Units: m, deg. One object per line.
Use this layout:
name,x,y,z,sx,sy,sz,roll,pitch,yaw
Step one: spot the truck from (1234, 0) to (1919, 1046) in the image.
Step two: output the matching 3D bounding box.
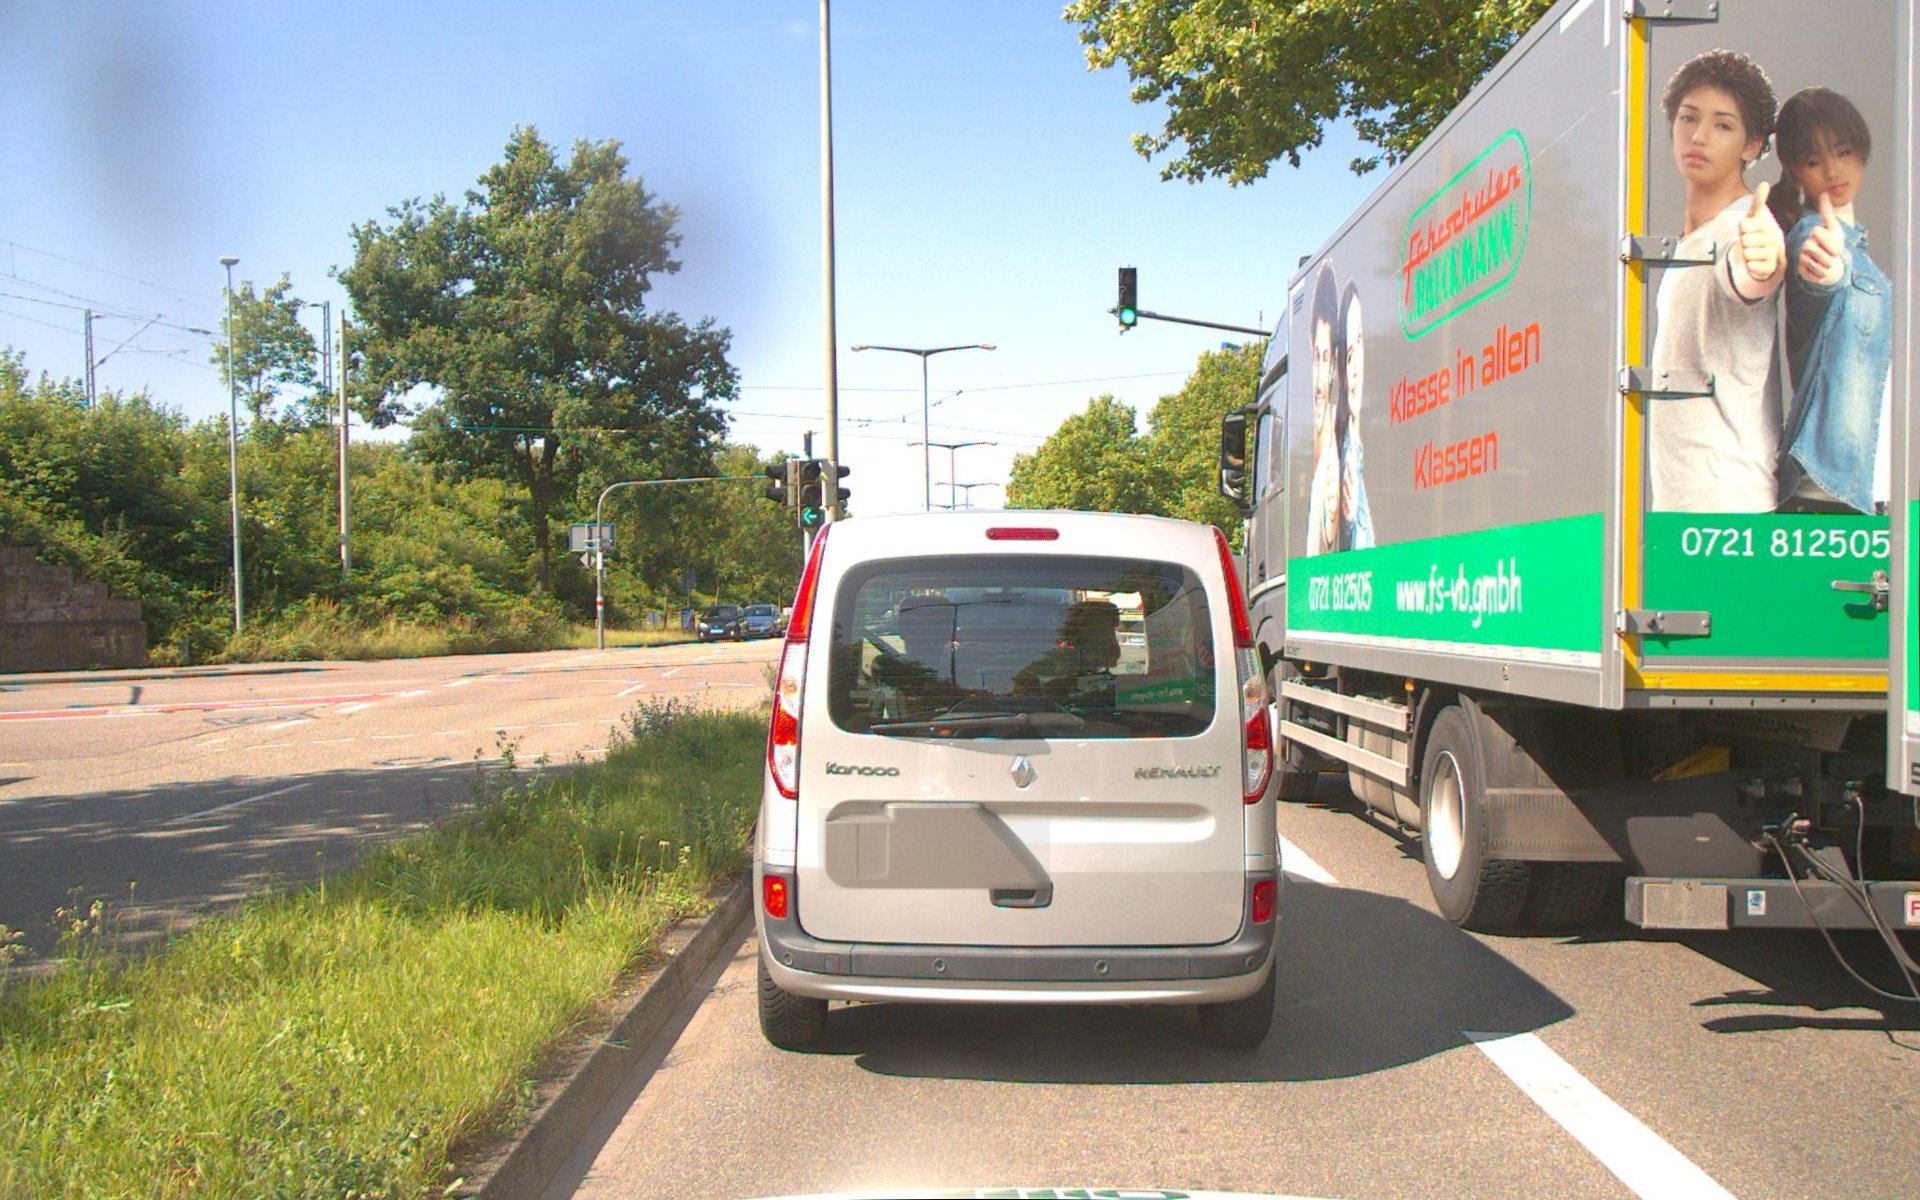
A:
truck,3.558,-0.530,9.672,2.673,3.958,8.724,0,0,2

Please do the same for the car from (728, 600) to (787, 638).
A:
car,-8.989,0.834,73.674,1.952,1.567,4.237,-1,0,2

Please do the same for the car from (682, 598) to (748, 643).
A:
car,-9.570,0.799,64.911,1.872,1.670,3.738,-1,0,2

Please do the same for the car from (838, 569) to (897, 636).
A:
car,-3.825,0.106,69.253,1.952,2.653,5.135,-1,0,2

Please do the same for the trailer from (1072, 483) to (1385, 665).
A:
trailer,6.890,-0.464,39.696,2.847,3.686,12.655,1,0,31

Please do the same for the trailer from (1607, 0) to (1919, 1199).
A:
trailer,3.367,-0.577,1.440,2.680,3.945,7.736,-1,0,1

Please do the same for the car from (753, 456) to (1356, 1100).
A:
car,0.255,0.535,6.872,1.750,1.870,3.999,1,0,-1
